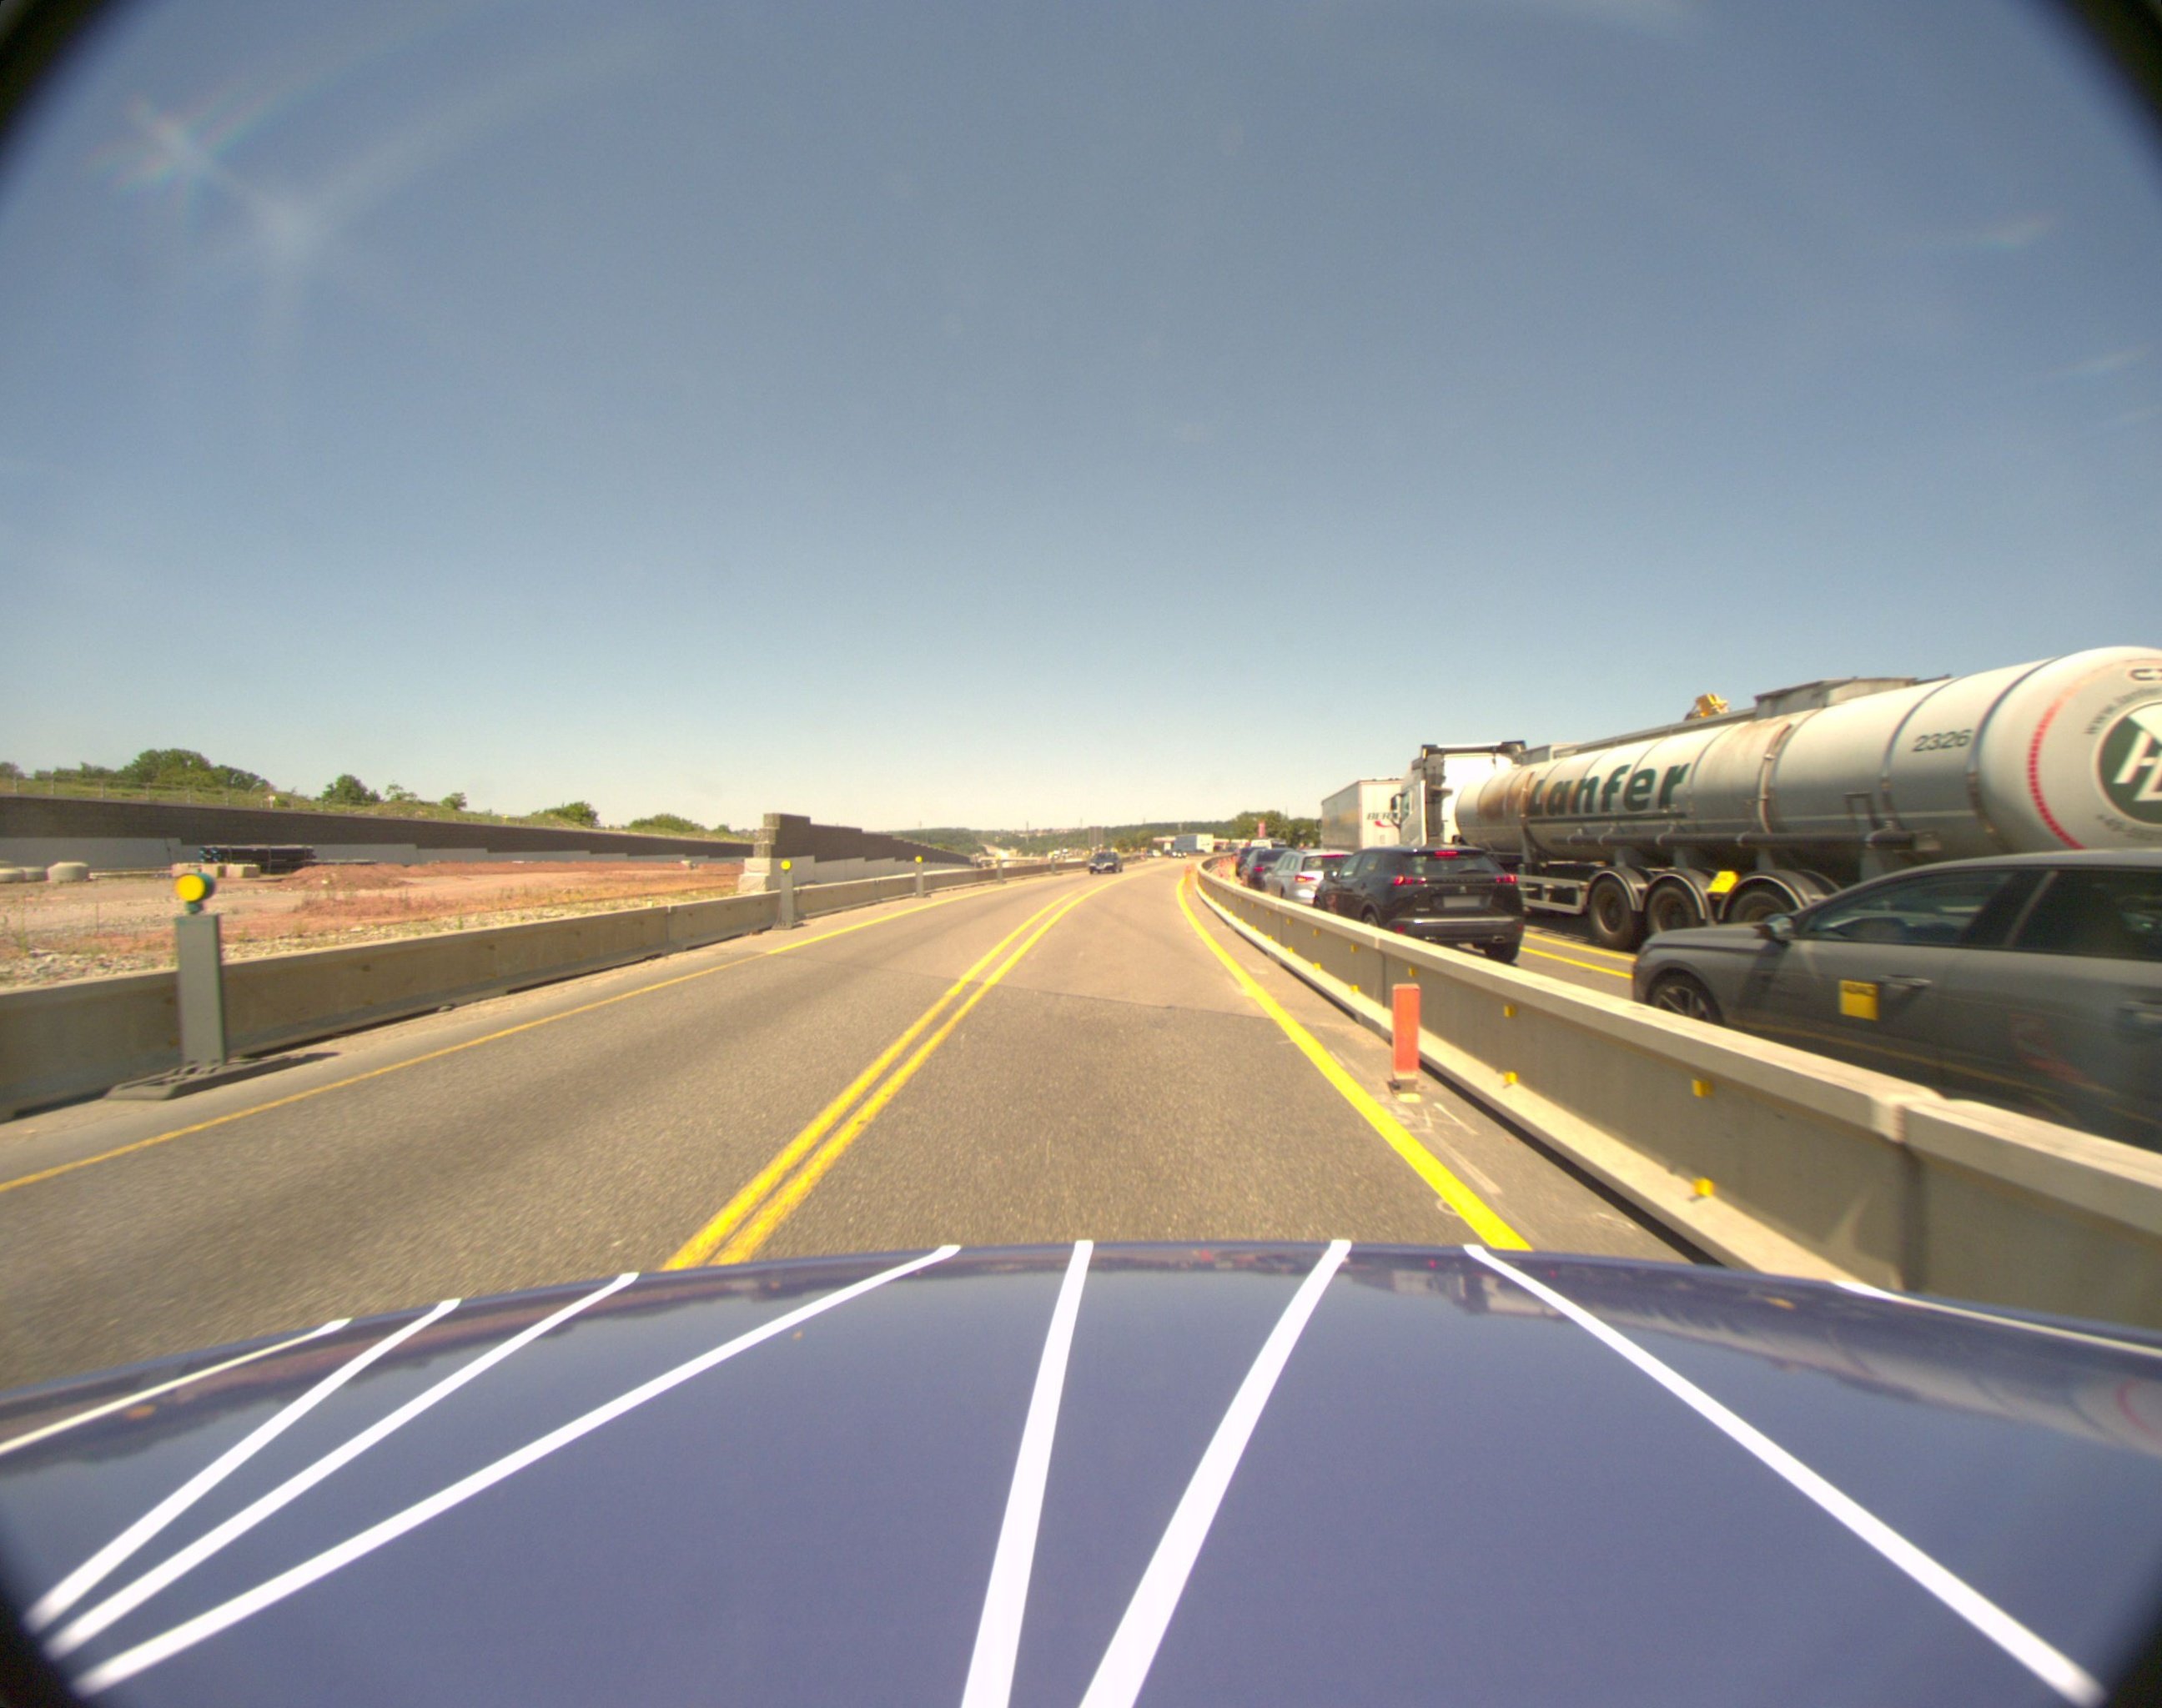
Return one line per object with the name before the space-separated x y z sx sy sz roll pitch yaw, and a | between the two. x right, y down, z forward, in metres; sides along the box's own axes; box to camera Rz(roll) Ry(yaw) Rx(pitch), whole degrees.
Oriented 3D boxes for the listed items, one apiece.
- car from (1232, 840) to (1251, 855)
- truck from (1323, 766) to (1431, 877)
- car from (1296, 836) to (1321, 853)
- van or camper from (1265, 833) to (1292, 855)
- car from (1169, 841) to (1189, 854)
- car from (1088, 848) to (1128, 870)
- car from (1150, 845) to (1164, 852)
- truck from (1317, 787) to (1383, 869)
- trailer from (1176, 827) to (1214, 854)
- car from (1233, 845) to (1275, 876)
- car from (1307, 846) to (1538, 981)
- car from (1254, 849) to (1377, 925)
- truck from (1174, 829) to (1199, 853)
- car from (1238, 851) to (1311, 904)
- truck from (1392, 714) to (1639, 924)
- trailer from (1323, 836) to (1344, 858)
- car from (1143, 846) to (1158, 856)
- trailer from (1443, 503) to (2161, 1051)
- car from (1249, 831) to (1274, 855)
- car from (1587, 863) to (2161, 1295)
car | 18.584 -0.759 87.872 1.760 1.606 4.230 -2 0 7
truck | 13.304 -1.289 35.217 2.778 4.253 11.789 0 1 12
car | 21.890 -0.929 73.218 1.996 1.493 4.658 0 1 12
van or camper | 23.138 -1.201 89.206 2.103 2.527 6.307 1 1 6
car | 13.668 -0.843 105.728 1.818 1.652 3.998 -3 0 -6
car | 1.782 0.334 49.418 1.808 1.299 4.005 1 -1 14
car | 14.245 -1.018 142.211 2.022 1.436 4.586 0 0 -3
truck | 14.926 -1.378 42.608 2.775 4.235 6.204 0 1 13
trailer | 18.875 -2.155 126.611 2.923 4.105 13.907 2 0 -5
car | 8.471 0.274 37.412 1.729 1.400 4.132 -1 1 9
car | 4.574 0.675 10.885 1.681 1.535 4.118 -1 1 4
car | 5.172 0.643 17.366 1.681 1.436 4.554 -1 1 4
truck | 18.360 -2.219 132.888 2.923 4.105 6.134 1 1 -5
car | 5.921 0.665 23.660 1.659 1.444 4.250 -1 1 7
truck | 9.497 -0.669 17.510 2.705 3.946 6.201 -1 1 7
trailer | 48.825 -1.240 146.546 3.152 4.087 14.187 1 0 21
car | 11.834 -0.467 130.360 1.708 1.674 3.786 -2 0 -7
trailer | 8.714 -0.604 11.046 2.710 3.955 11.248 -1 1 7
car | 16.229 -1.021 68.392 1.875 1.863 5.062 7 3 12
car | 4.711 0.827 3.482 1.739 1.408 4.797 -1 1 2
